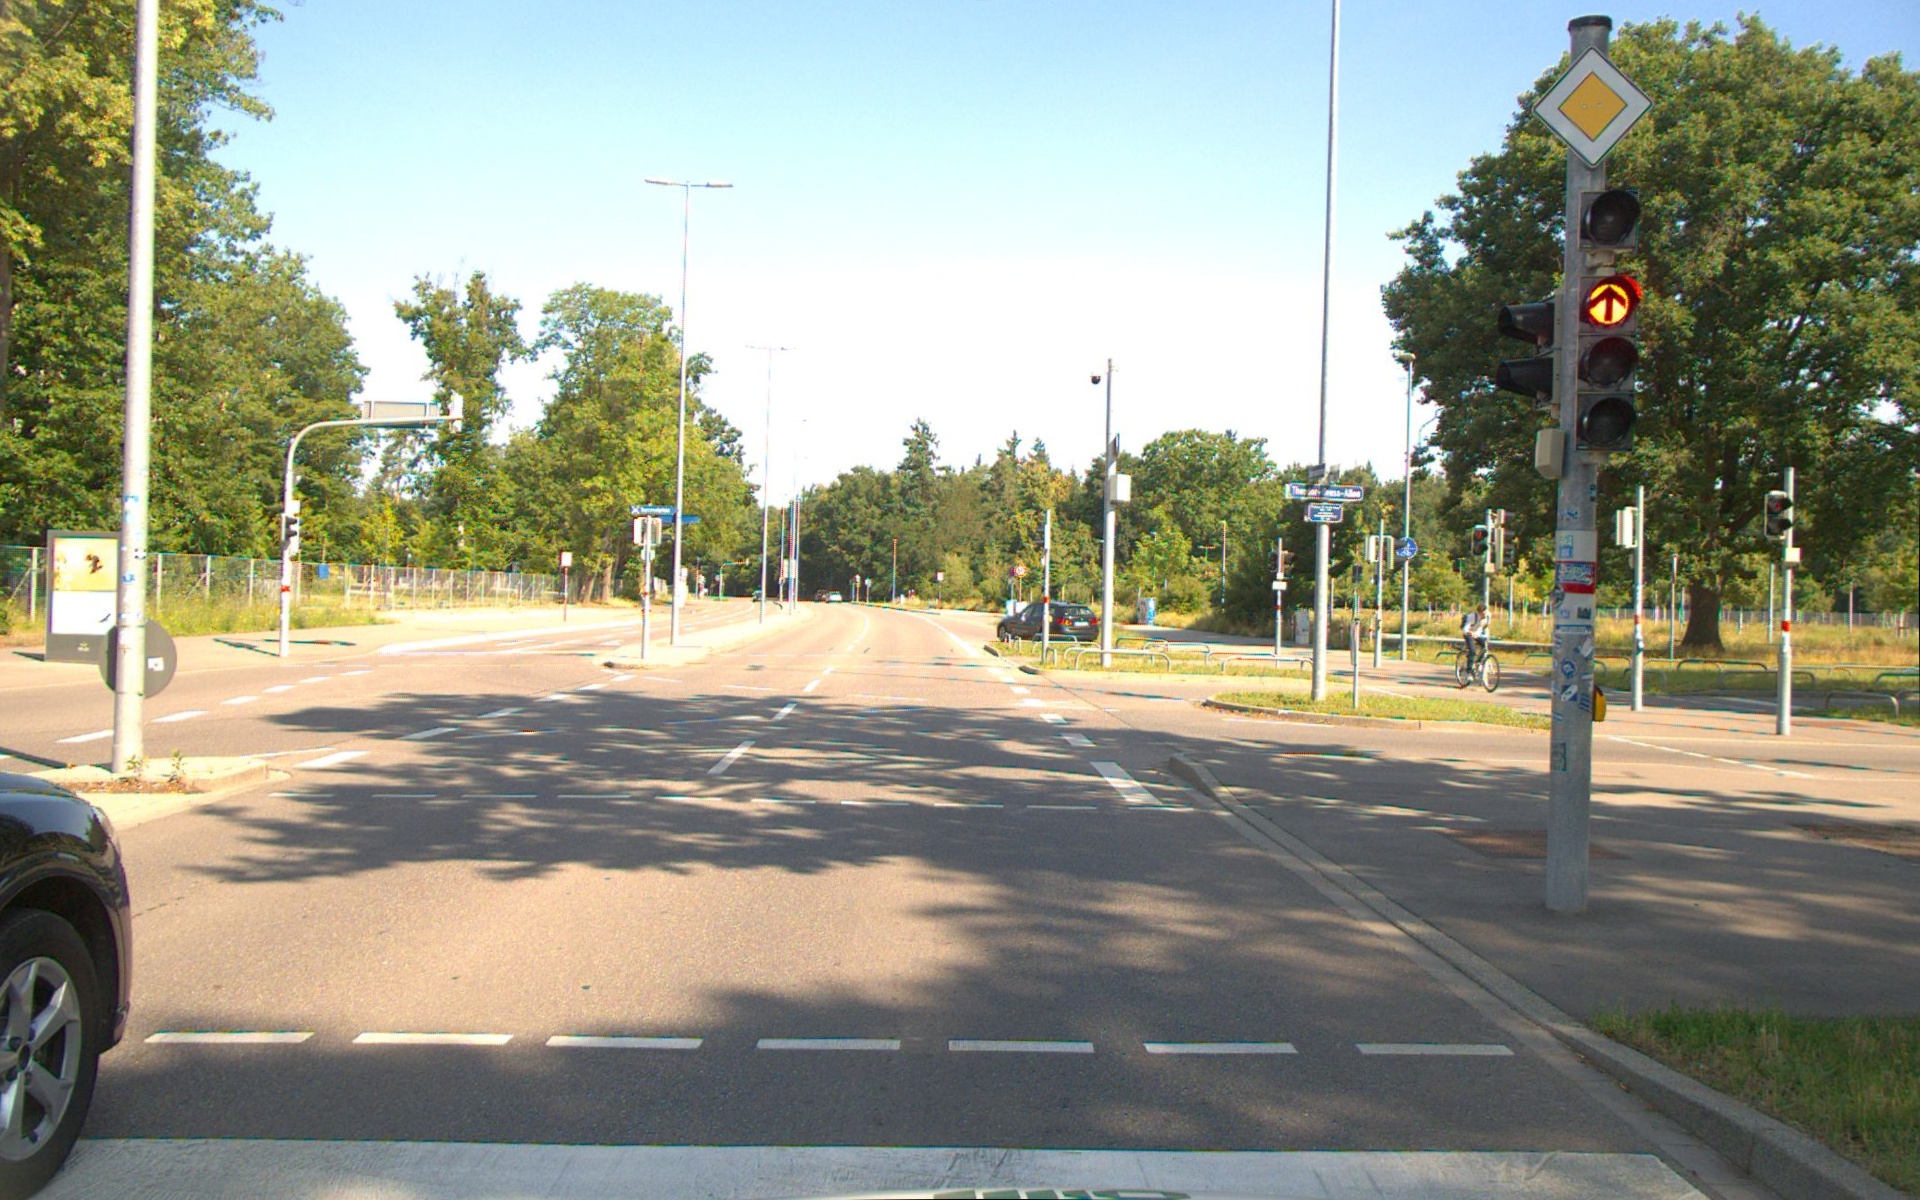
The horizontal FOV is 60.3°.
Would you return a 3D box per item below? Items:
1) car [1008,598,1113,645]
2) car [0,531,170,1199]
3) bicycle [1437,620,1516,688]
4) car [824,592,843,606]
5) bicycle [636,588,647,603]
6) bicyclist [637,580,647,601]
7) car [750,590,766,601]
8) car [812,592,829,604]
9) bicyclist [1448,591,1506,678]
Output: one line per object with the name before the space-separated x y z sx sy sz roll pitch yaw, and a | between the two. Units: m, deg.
car | 3.341 0.697 55.718 1.913 1.445 4.265 1 0 -22
car | -2.951 0.633 2.410 1.653 1.571 4.148 0 0 -1
bicycle | 10.052 1.036 32.286 0.710 1.220 2.099 1 0 -5
car | -16.693 -0.188 217.757 1.959 1.780 3.987 1 0 -12
bicycle | -24.210 -0.343 125.711 0.647 1.155 1.876 3 0 -6
bicyclist | -24.178 -0.725 125.775 0.647 1.493 1.056 3 0 -6
car | -28.656 -0.615 234.364 1.779 1.412 4.149 -1 0 -12
car | -19.709 -0.260 233.952 1.958 1.624 3.989 1 0 -12
bicyclist | 10.070 0.658 32.257 0.710 1.667 1.057 1 0 -5
